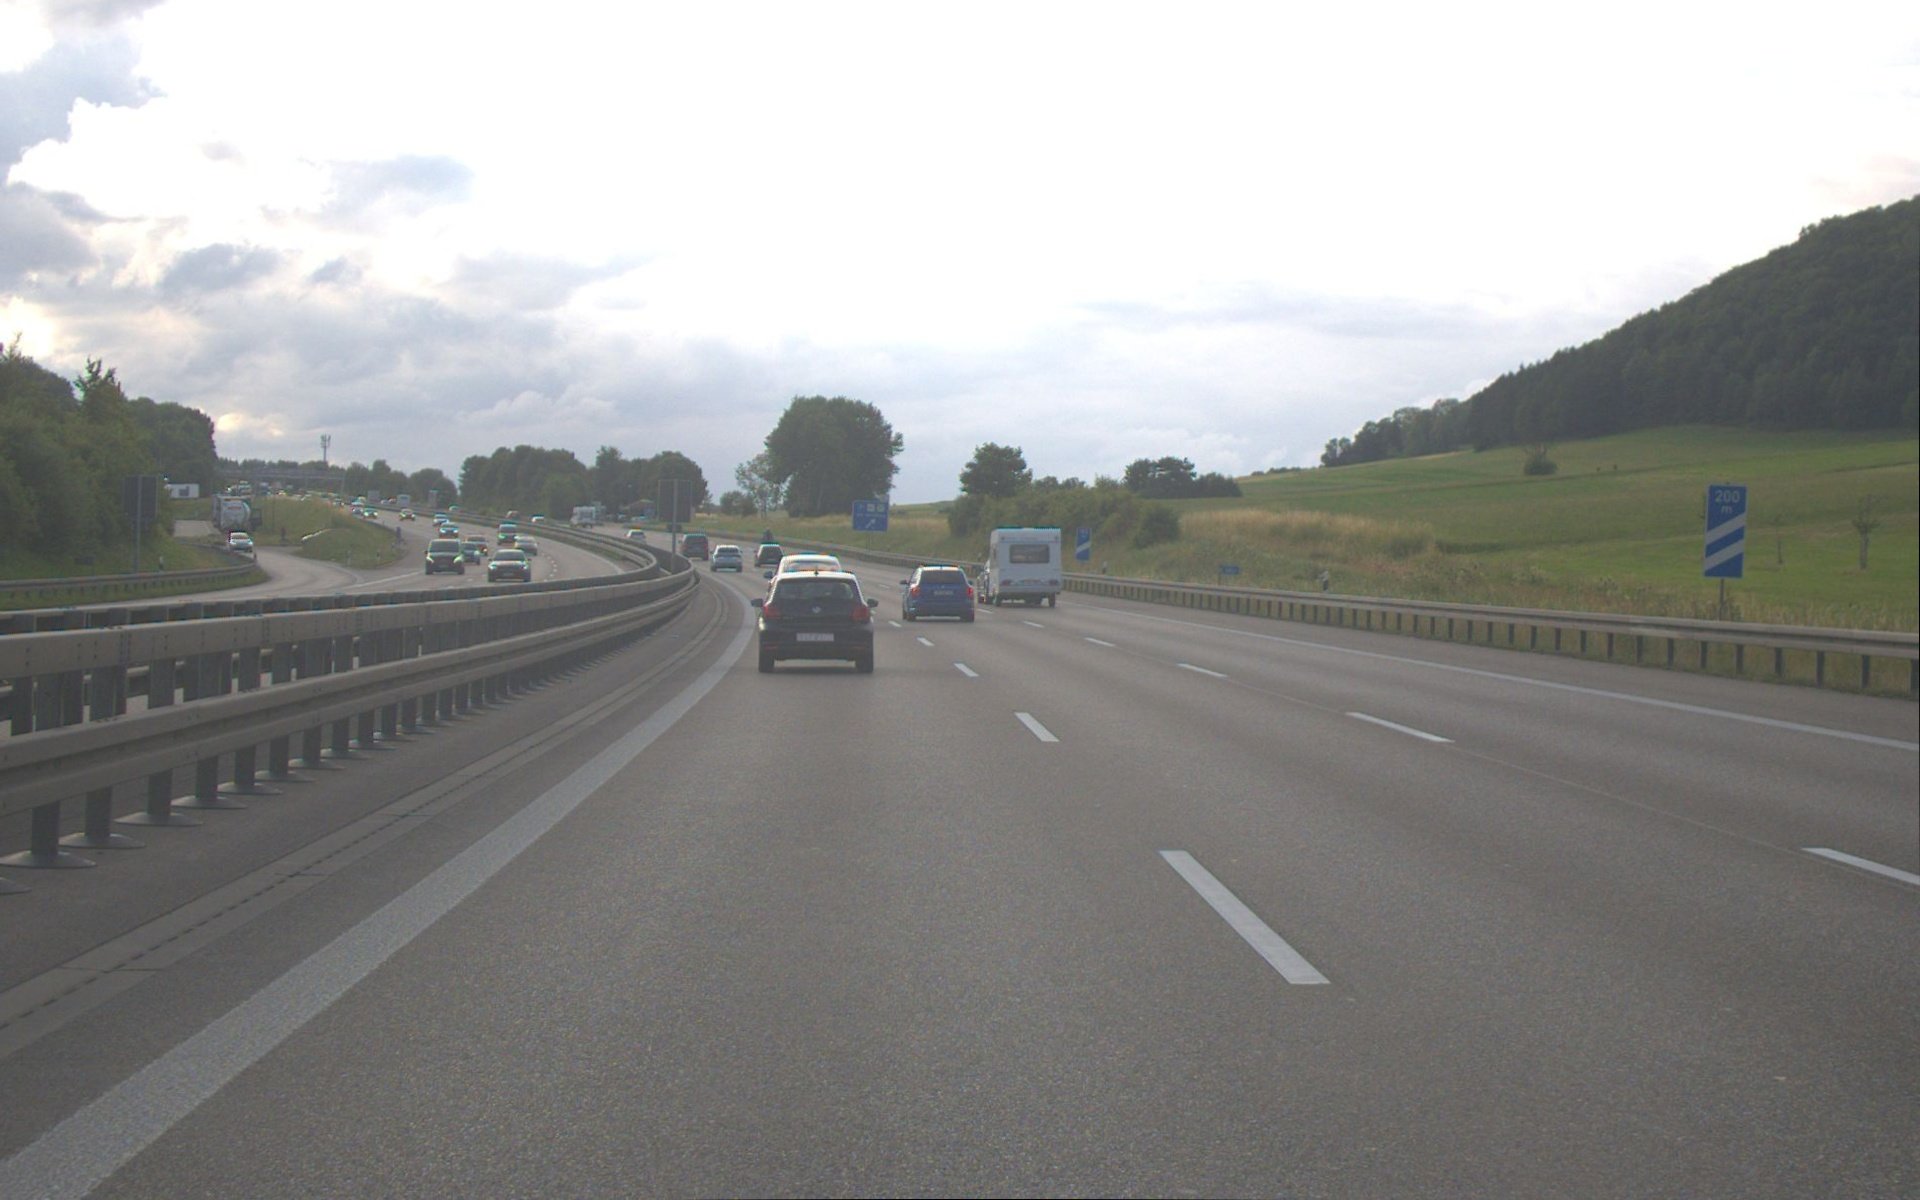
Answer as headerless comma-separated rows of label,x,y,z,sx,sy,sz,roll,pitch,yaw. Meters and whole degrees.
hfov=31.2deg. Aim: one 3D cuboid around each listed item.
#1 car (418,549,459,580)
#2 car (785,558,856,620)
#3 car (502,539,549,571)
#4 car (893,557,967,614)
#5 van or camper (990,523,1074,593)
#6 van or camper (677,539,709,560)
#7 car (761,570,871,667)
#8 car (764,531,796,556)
car,-27.685,-1.889,182.714,1.775,1.590,4.001,1,0,-3
car,-3.186,-0.272,78.370,1.565,1.376,4.000,1,1,-3
car,-20.072,-2.060,159.062,1.993,1.425,4.588,1,0,-5
car,-0.810,-0.392,90.099,1.766,1.428,4.001,1,1,-3
van or camper,2.311,-1.370,112.440,2.548,2.232,5.329,1,1,-1
van or camper,-19.060,-3.618,245.453,1.966,1.428,4.000,1,1,0
car,-2.127,0.247,50.297,1.538,1.343,3.677,1,1,-3
car,-11.686,-3.632,223.155,1.957,1.568,4.000,1,0,-2
